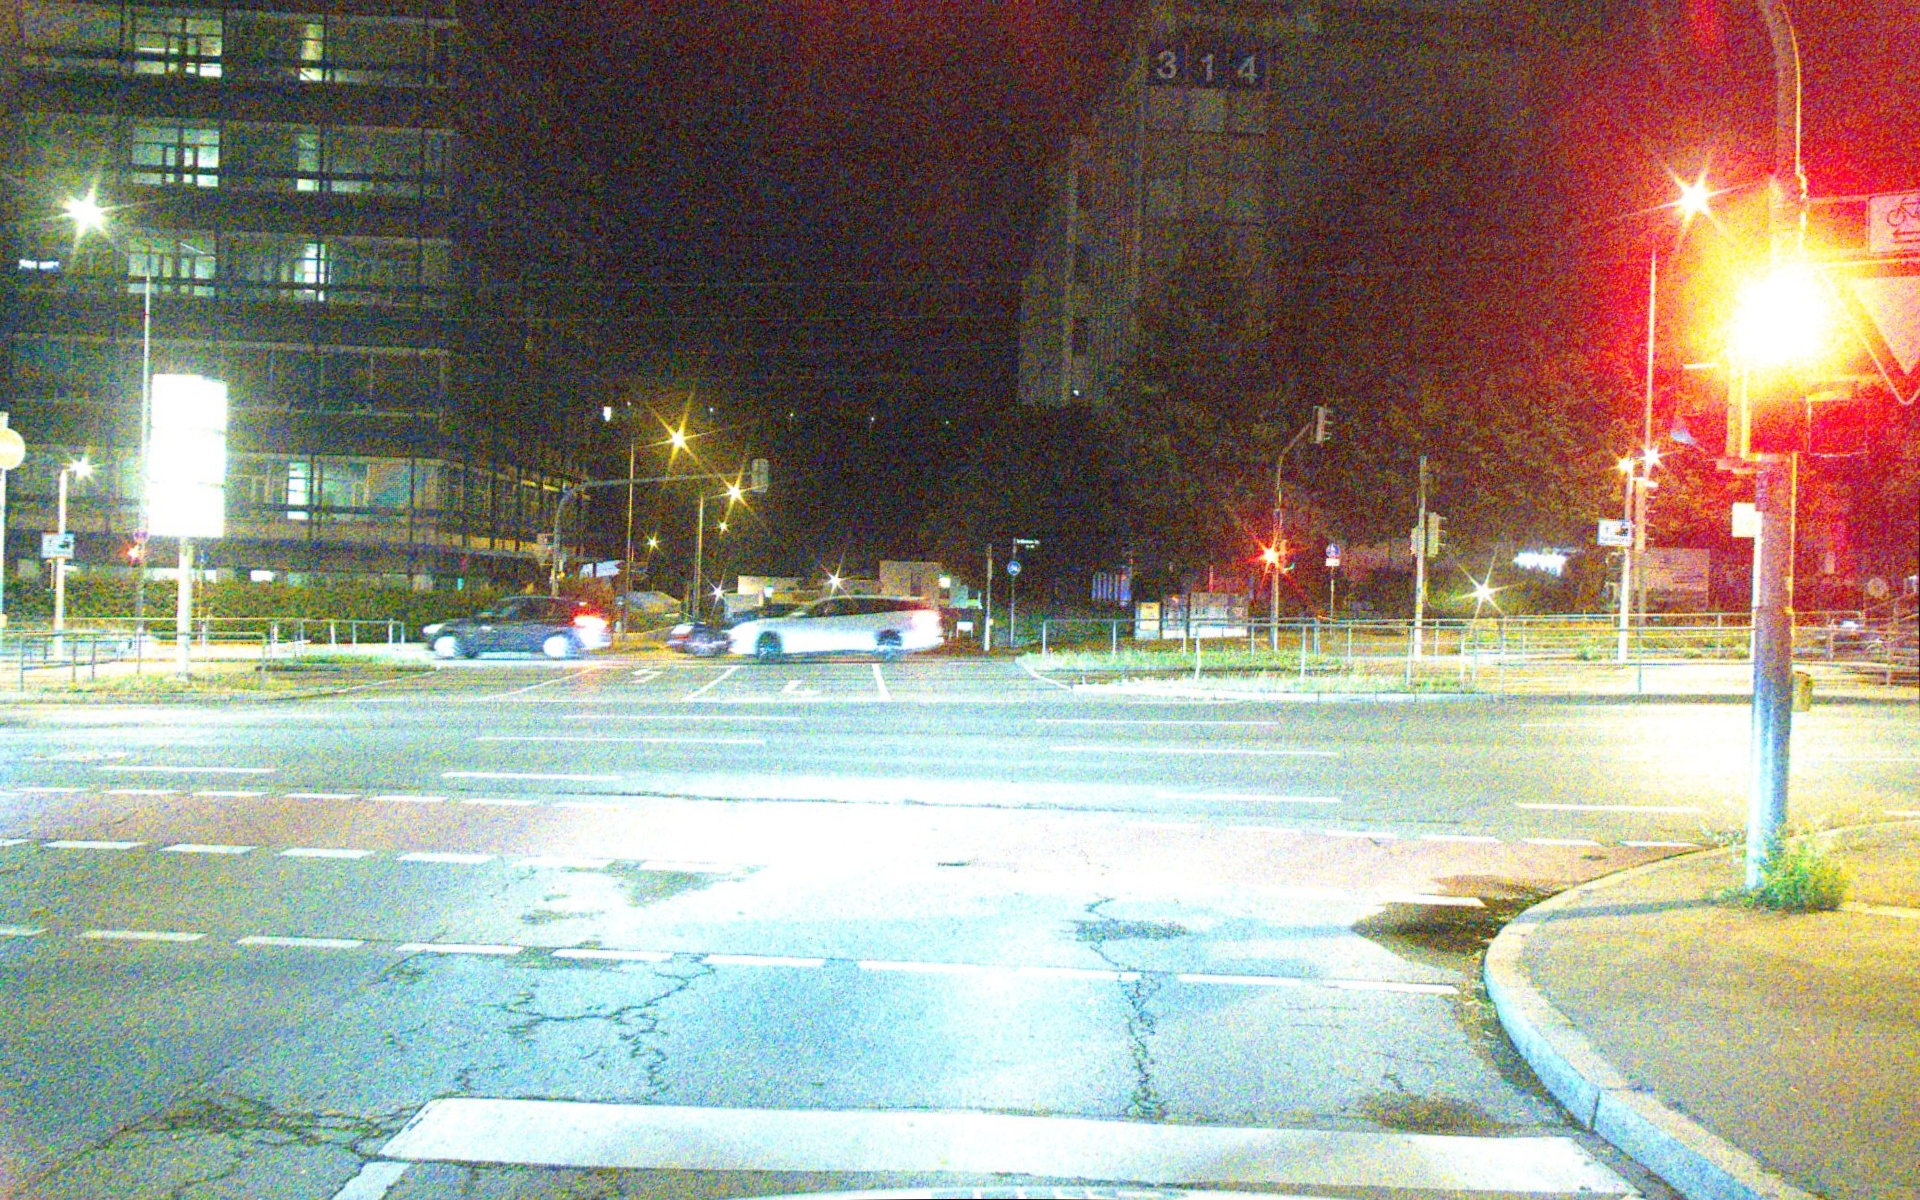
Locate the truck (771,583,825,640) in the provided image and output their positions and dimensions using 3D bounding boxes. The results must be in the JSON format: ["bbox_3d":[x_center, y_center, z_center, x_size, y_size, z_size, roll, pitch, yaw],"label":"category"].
[{"bbox_3d":[-14.625,1.029,148.604,3.307,4.927,7.868,2,-1,-17],"label":"truck"}]

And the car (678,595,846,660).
[{"bbox_3d":[-5.188,0.732,43.685,4.146,1.613,1.887,1,-1,1],"label":"car"}]

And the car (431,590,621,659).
[{"bbox_3d":[-10.684,0.607,40.915,4.145,1.613,1.804,1,-1,3],"label":"car"}]

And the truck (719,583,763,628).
[{"bbox_3d":[-15.854,0.430,119.633,2.377,3.143,6.414,2,-1,-14],"label":"truck"}]

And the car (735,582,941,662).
[{"bbox_3d":[-2.729,0.476,37.610,4.476,1.612,1.847,2,1,1],"label":"car"}]

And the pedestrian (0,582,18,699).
[{"bbox_3d":[-14.759,0.601,24.907,0.663,1.752,0.706,1,-1,25],"label":"pedestrian"}]

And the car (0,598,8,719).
[{"bbox_3d":[-13.855,0.787,19.285,4.476,1.444,1.746,-1,3,2],"label":"car"}]
